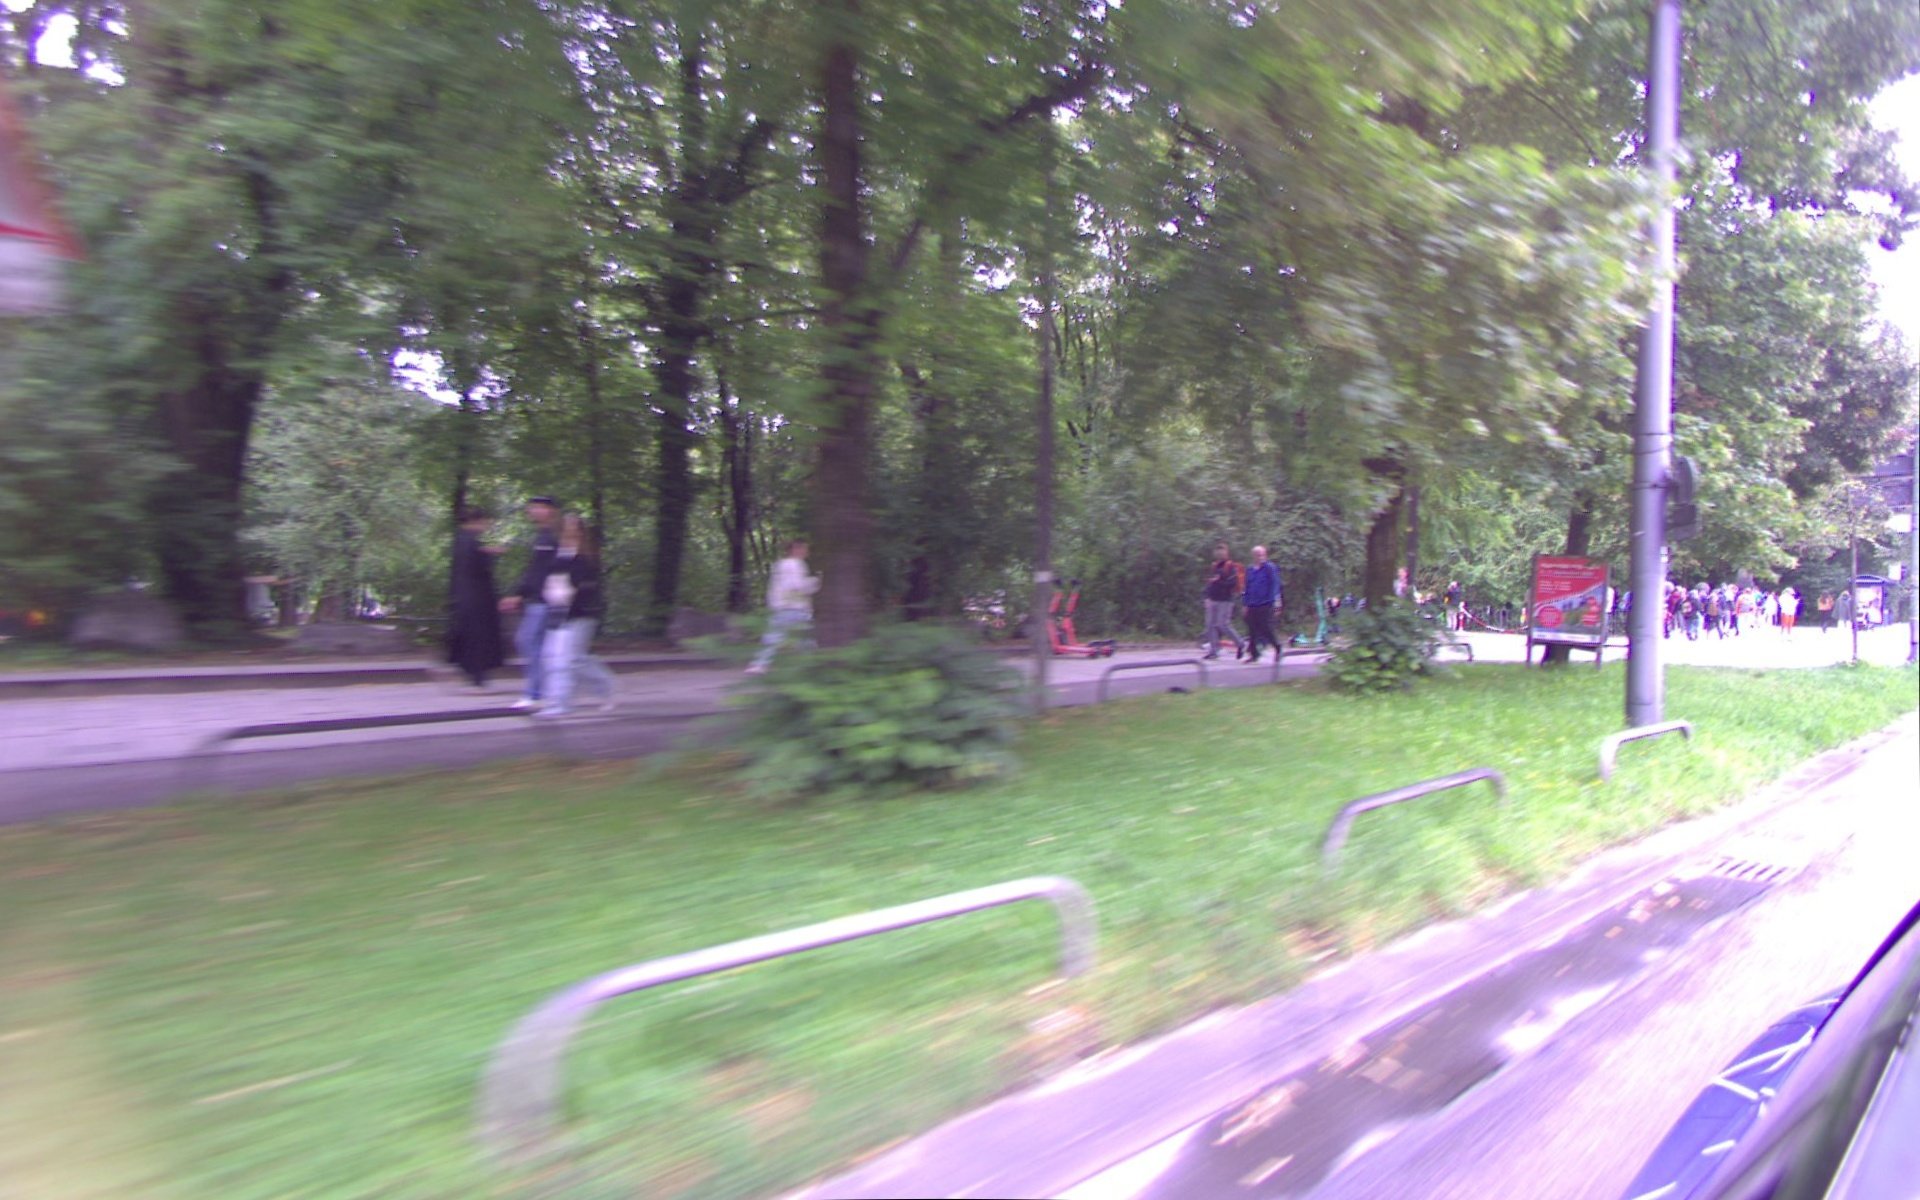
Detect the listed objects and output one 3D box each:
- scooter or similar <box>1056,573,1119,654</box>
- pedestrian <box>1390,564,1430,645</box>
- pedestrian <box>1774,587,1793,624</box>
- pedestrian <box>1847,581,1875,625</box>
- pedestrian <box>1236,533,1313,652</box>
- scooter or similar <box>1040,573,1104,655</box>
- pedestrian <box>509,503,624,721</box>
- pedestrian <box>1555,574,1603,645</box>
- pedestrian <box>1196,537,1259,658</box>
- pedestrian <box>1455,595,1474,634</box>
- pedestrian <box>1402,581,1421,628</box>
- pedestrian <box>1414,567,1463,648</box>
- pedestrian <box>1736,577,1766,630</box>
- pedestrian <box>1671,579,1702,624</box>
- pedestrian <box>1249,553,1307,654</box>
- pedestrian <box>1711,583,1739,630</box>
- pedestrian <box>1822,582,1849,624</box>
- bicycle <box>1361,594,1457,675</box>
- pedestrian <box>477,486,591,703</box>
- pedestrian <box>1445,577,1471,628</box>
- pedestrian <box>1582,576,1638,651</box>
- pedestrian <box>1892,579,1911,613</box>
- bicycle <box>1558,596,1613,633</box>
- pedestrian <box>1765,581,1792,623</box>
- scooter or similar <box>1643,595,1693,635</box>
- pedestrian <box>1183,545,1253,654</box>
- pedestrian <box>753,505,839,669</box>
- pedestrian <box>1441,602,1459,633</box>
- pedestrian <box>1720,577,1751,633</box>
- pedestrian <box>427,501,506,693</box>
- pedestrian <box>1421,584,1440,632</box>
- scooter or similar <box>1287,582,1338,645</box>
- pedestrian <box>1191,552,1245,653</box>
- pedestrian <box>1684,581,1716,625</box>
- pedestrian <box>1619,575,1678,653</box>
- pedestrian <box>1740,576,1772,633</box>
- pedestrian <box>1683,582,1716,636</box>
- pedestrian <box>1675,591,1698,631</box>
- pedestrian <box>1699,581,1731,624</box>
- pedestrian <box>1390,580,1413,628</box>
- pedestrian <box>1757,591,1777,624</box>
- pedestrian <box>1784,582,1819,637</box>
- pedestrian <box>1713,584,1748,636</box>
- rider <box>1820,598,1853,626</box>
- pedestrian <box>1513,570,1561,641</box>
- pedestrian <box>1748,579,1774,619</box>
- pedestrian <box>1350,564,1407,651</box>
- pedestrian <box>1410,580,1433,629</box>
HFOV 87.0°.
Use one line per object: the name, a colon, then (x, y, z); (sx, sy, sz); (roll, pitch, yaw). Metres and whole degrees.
scooter or similar: (2.001, 0.211, 15.913); (0.909, 1.239, 0.306); (1, 0, -2)
pedestrian: (8.949, 0.094, 20.117); (0.561, 1.586, 0.487); (0, 0, -26)
pedestrian: (40.432, 0.273, 49.714); (0.523, 1.790, 0.637); (0, 0, -39)
pedestrian: (35.785, 0.107, 40.210); (0.636, 1.712, 0.728); (0, 0, -36)
pedestrian: (4.818, -0.116, 15.505); (0.832, 1.759, 0.758); (0, 0, -26)
scooter or similar: (1.716, 0.212, 15.558); (0.909, 1.239, 0.306); (1, 0, -2)
pedestrian: (-3.249, 0.089, 8.353); (0.740, 1.702, 0.609); (0, 0, -38)
pedestrian: (14.787, 0.223, 24.193); (0.637, 1.664, 0.758); (0, 0, -26)
pedestrian: (4.236, -0.040, 16.018); (0.835, 1.845, 0.589); (0, 0, -41)
pedestrian: (19.435, 0.544, 39.014); (0.507, 1.492, 0.409); (0, 0, -19)
pedestrian: (17.162, 0.159, 38.450); (0.427, 1.785, 0.528); (0, 0, -19)
pedestrian: (9.225, 0.135, 19.514); (0.552, 1.534, 0.682); (0, 0, -40)
pedestrian: (28.564, 0.117, 36.539); (0.678, 1.896, 0.612); (0, 0, -25)
pedestrian: (27.934, 0.045, 38.903); (0.715, 1.712, 0.814); (0, 0, -39)
pedestrian: (5.386, 0.049, 17.129); (0.591, 1.658, 0.682); (0, 2, -41)
pedestrian: (32.237, 0.277, 42.658); (0.715, 1.941, 0.814); (0, 0, -39)
pedestrian: (35.322, 0.118, 40.835); (0.636, 1.712, 0.728); (0, 0, -36)
bicycle: (6.145, 0.438, 13.805); (2.043, 1.034, 0.385); (0, 0, -41)
pedestrian: (-3.722, -0.048, 8.848); (0.782, 1.786, 0.609); (0, 0, -38)
pedestrian: (16.914, 0.090, 34.389); (0.682, 1.717, 0.609); (0, 0, 14)
pedestrian: (14.837, 0.299, 23.095); (0.832, 1.664, 0.758); (0, 0, -26)
pedestrian: (53.160, -0.229, 57.158); (0.940, 1.939, 0.709); (0, 0, -42)
bicycle: (21.682, 0.498, 35.111); (1.580, 1.255, 0.389); (0, 0, 22)
pedestrian: (36.759, 0.077, 45.460); (0.715, 1.852, 0.814); (0, 0, -39)
scooter or similar: (23.406, 0.477, 33.492); (0.341, 1.272, 1.570); (0, 0, -11)
pedestrian: (4.304, -0.012, 16.921); (0.832, 1.759, 0.758); (0, 0, -26)
pedestrian: (-1.876, -0.149, 11.577); (0.767, 1.796, 0.632); (0, 0, -38)
pedestrian: (19.035, 0.680, 39.329); (0.507, 1.213, 0.409); (0, 0, -19)
pedestrian: (26.596, 0.152, 34.722); (0.678, 1.896, 0.612); (0, 0, -25)
pedestrian: (-4.560, -0.030, 9.343); (0.543, 1.697, 0.581); (0, 0, -38)
pedestrian: (17.631, 0.288, 37.937); (0.507, 1.785, 0.409); (0, 0, -19)
scooter or similar: (6.956, 0.260, 19.978); (1.198, 1.214, 0.418); (0, 0, -41)
pedestrian: (4.344, 0.034, 17.040); (0.679, 1.658, 0.655); (0, 0, 37)
pedestrian: (29.268, 0.119, 40.027); (0.715, 1.712, 0.814); (0, 1, -39)
pedestrian: (15.073, 0.305, 22.175); (0.832, 1.664, 0.758); (0, 0, -26)
pedestrian: (27.344, 0.161, 34.760); (0.678, 1.939, 0.612); (0, 0, -25)
pedestrian: (23.447, 0.284, 32.093); (0.683, 1.672, 0.608); (0, 0, 16)
pedestrian: (24.363, 0.368, 33.925); (0.636, 1.343, 0.459); (0, 0, -37)
pedestrian: (30.639, 0.102, 41.082); (0.715, 1.711, 0.814); (0, 2, -39)
pedestrian: (16.625, 0.158, 38.129); (0.540, 1.785, 0.612); (0, 0, -19)
pedestrian: (37.845, 0.359, 47.455); (0.523, 1.526, 0.637); (0, 0, -39)
pedestrian: (26.537, 0.302, 31.913); (0.636, 1.712, 0.728); (0, 0, -36)
pedestrian: (24.080, 0.306, 31.646); (0.682, 1.598, 0.609); (0, 0, 14)
rider: (35.442, 0.488, 40.909); (1.221, 1.126, 0.767); (0, 0, -37)
pedestrian: (13.866, 0.123, 24.330); (0.676, 1.664, 0.758); (0, 0, -26)
pedestrian: (35.869, -0.048, 45.320); (0.715, 1.790, 0.814); (0, 0, -39)
pedestrian: (7.848, 0.129, 18.994); (0.857, 1.586, 0.682); (0, 0, -41)
pedestrian: (17.111, 0.163, 37.519); (0.556, 1.785, 0.523); (0, 0, -10)
